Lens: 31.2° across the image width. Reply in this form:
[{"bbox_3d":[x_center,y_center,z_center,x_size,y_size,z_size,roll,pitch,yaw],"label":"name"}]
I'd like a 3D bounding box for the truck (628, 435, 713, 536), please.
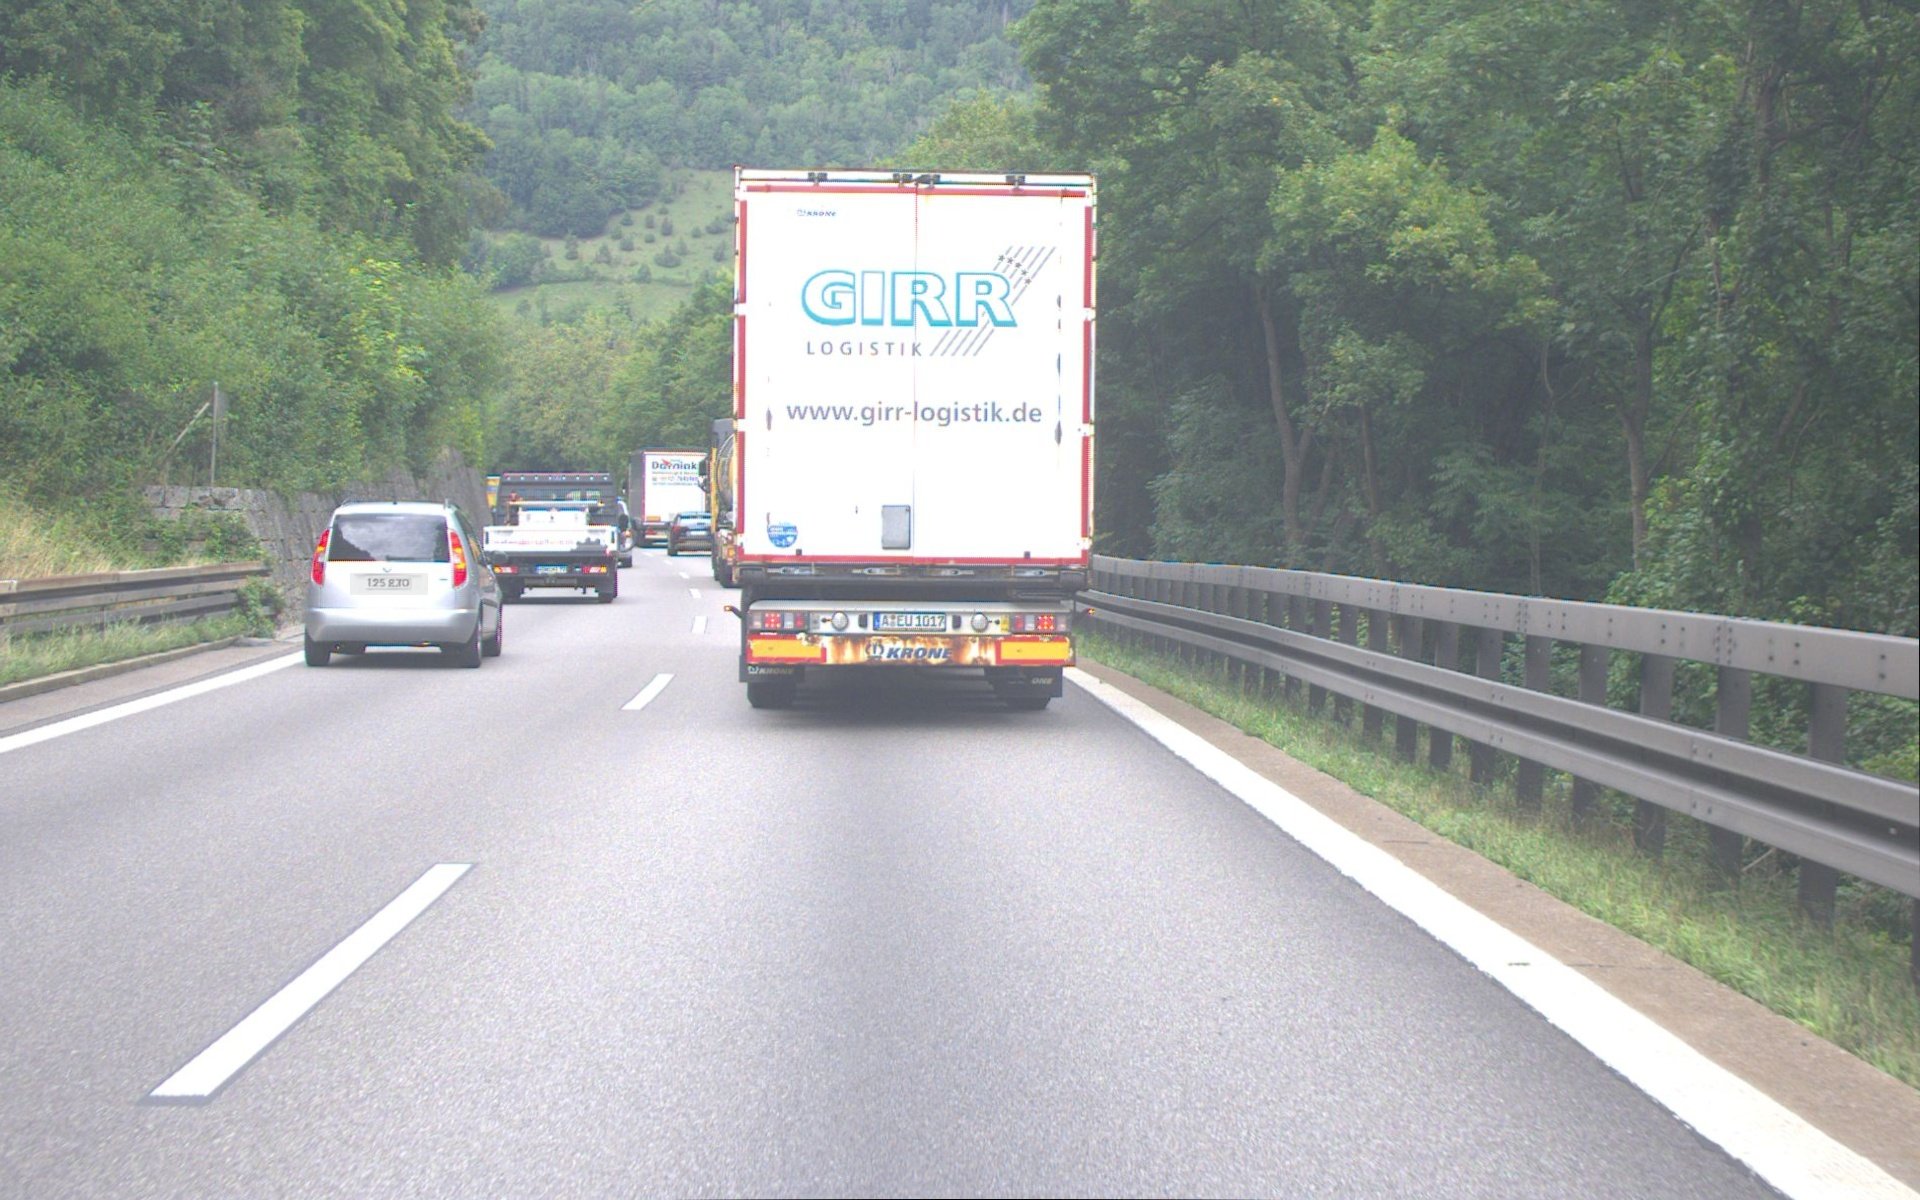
[{"bbox_3d":[-11.831,-4.598,139.985,3.068,3.864,8.460,3,1,-6],"label":"truck"}]

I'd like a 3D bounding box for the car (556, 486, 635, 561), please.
[{"bbox_3d":[-10.042,-2.120,94.449,2.018,1.907,5.565,3,1,-7],"label":"car"}]

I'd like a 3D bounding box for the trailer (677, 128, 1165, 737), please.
[{"bbox_3d":[-0.542,-1.288,28.662,3.132,4.029,9.441,4,1,-3],"label":"trailer"}]

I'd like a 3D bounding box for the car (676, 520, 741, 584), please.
[{"bbox_3d":[-8.477,-1.627,115.563,1.993,2.007,4.001,3,1,-6],"label":"car"}]

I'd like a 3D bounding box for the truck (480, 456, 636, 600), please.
[{"bbox_3d":[-6.921,-1.259,59.894,2.349,2.266,6.851,3,1,-5],"label":"truck"}]

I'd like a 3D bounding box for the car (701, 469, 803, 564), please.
[{"bbox_3d":[-4.741,-1.884,77.975,1.993,2.007,4.334,3,1,-7],"label":"car"}]

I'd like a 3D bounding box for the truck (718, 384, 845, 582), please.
[{"bbox_3d":[-3.754,-2.366,71.082,2.233,3.791,6.824,3,1,-5],"label":"truck"}]

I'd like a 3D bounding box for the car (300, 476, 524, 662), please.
[{"bbox_3d":[-5.471,-0.340,34.748,1.634,1.720,4.345,2,1,-1],"label":"car"}]
